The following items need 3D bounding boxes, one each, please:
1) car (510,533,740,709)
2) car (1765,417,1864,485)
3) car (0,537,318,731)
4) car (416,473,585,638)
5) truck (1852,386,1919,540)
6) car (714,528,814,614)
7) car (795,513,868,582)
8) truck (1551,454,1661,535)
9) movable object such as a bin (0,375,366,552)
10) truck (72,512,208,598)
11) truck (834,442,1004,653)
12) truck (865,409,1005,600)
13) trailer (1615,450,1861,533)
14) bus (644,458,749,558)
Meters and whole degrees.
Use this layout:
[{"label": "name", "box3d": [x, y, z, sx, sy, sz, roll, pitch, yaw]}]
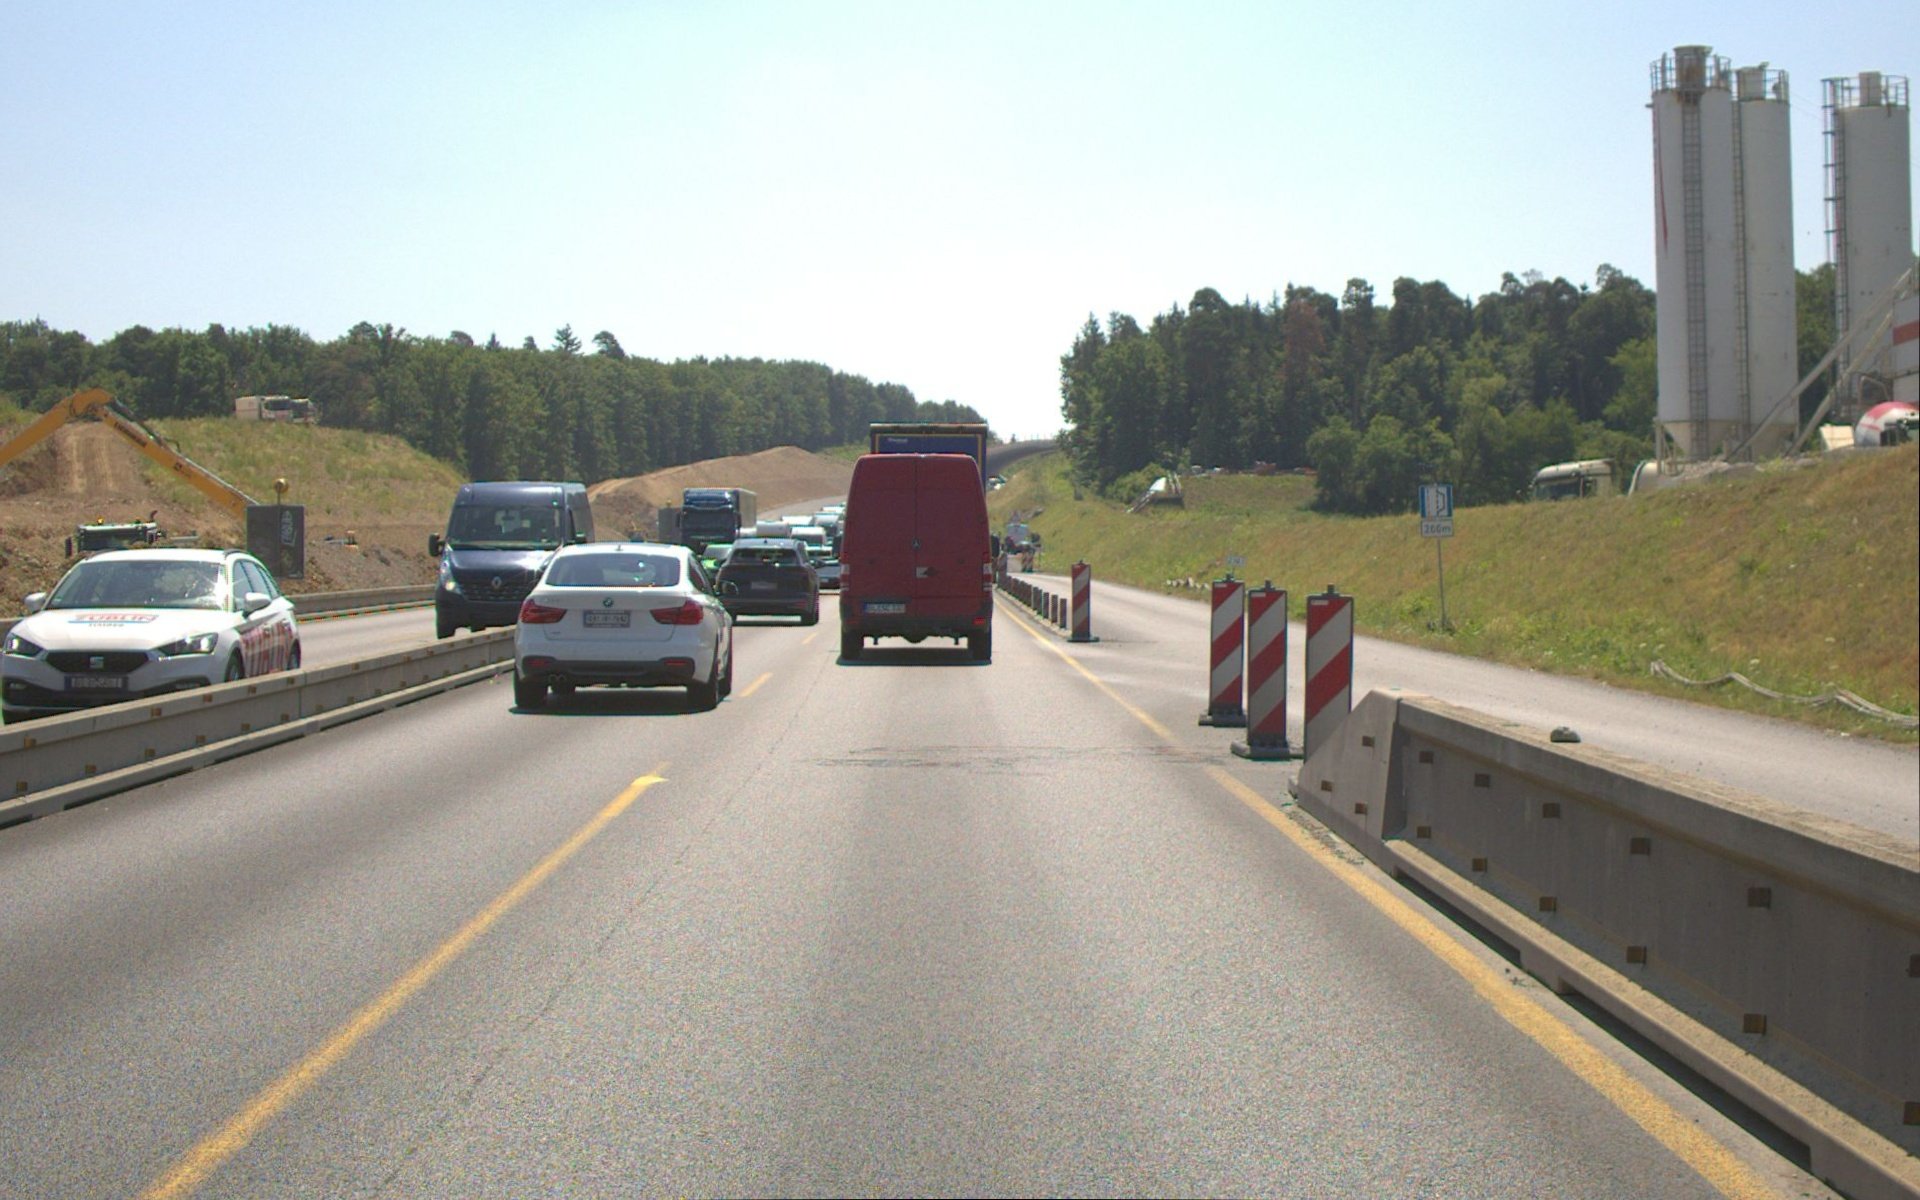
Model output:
[{"label": "car", "box3d": [-3.097, 0.137, 32.699, 1.795, 1.529, 5.074, 0, 1, -1]}, {"label": "car", "box3d": [26.976, -4.688, 108.678, 1.993, 2.007, 4.428, -1, 1, 0]}, {"label": "car", "box3d": [-6.498, 0.215, 28.279, 1.678, 1.437, 4.672, -1, 1, -2]}, {"label": "car", "box3d": [-7.167, -0.716, 54.125, 1.955, 2.459, 5.358, -1, 1, 0]}, {"label": "truck", "box3d": [28.314, -3.929, 100.694, 3.437, 4.281, 9.923, 0, 1, 10]}, {"label": "car", "box3d": [-3.627, -0.568, 64.004, 1.795, 1.529, 3.932, -1, 1, -3]}, {"label": "car", "box3d": [-3.821, -1.582, 102.818, 1.993, 2.007, 4.000, -1, 1, 0]}, {"label": "truck", "box3d": [25.465, -4.126, 135.343, 2.899, 3.102, 6.004, 0, 1, 24]}, {"label": "movable object such as a bin", "box3d": [-34.642, -5.676, 144.465, 18.710, 7.206, 3.616, -1, 1, -2]}, {"label": "truck", "box3d": [-25.999, -1.474, 109.366, 2.316, 2.608, 8.411, -1, 1, 0]}, {"label": "truck", "box3d": [-0.496, -0.724, 46.388, 2.111, 2.624, 6.484, -1, 1, 0]}, {"label": "truck", "box3d": [-0.529, -2.176, 79.317, 3.015, 4.138, 8.272, -1, 1, 0]}, {"label": "trailer", "box3d": [30.913, -4.313, 136.608, 8.993, 3.218, 3.332, -1, 1, -15]}, {"label": "bus", "box3d": [-12.325, -4.287, 162.470, 3.942, 4.400, 17.202, -1, 1, -1]}]
